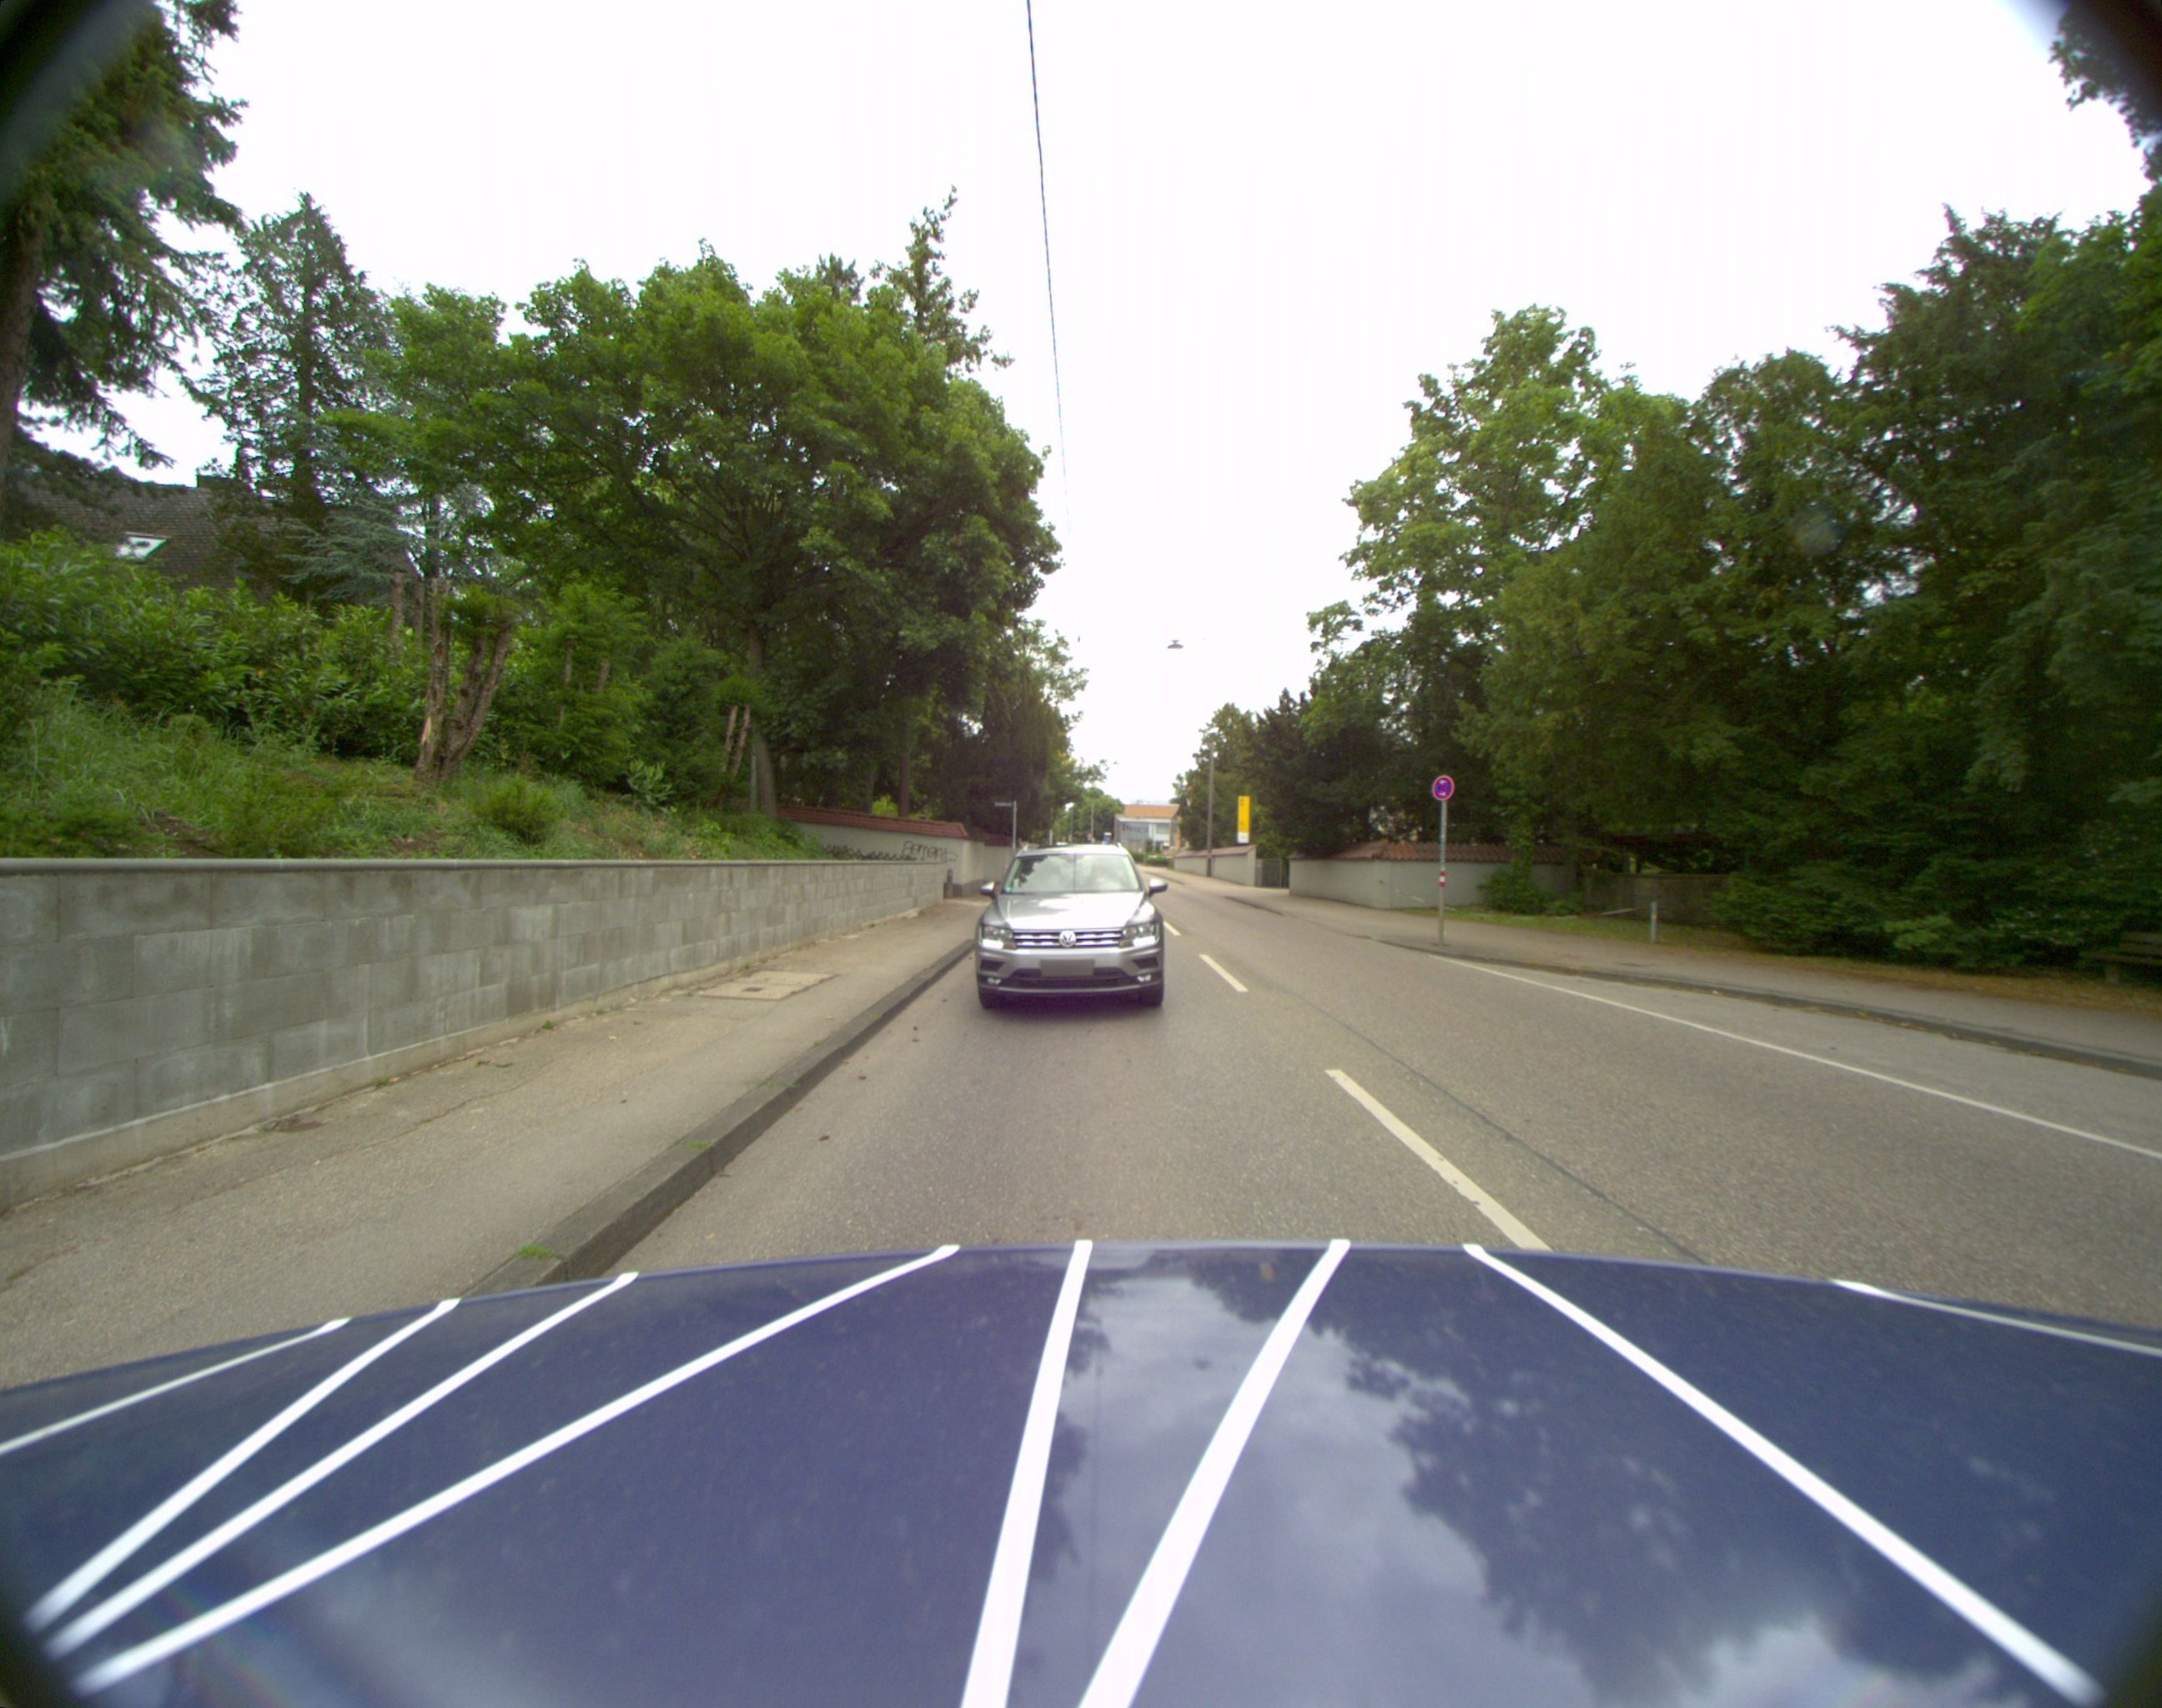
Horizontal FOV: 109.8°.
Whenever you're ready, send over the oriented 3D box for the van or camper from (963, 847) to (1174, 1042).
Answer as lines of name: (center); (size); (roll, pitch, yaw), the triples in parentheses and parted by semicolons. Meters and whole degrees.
van or camper: (-0.082, 0.767, 8.620); (1.800, 1.663, 4.198); (0, 0, 1)
